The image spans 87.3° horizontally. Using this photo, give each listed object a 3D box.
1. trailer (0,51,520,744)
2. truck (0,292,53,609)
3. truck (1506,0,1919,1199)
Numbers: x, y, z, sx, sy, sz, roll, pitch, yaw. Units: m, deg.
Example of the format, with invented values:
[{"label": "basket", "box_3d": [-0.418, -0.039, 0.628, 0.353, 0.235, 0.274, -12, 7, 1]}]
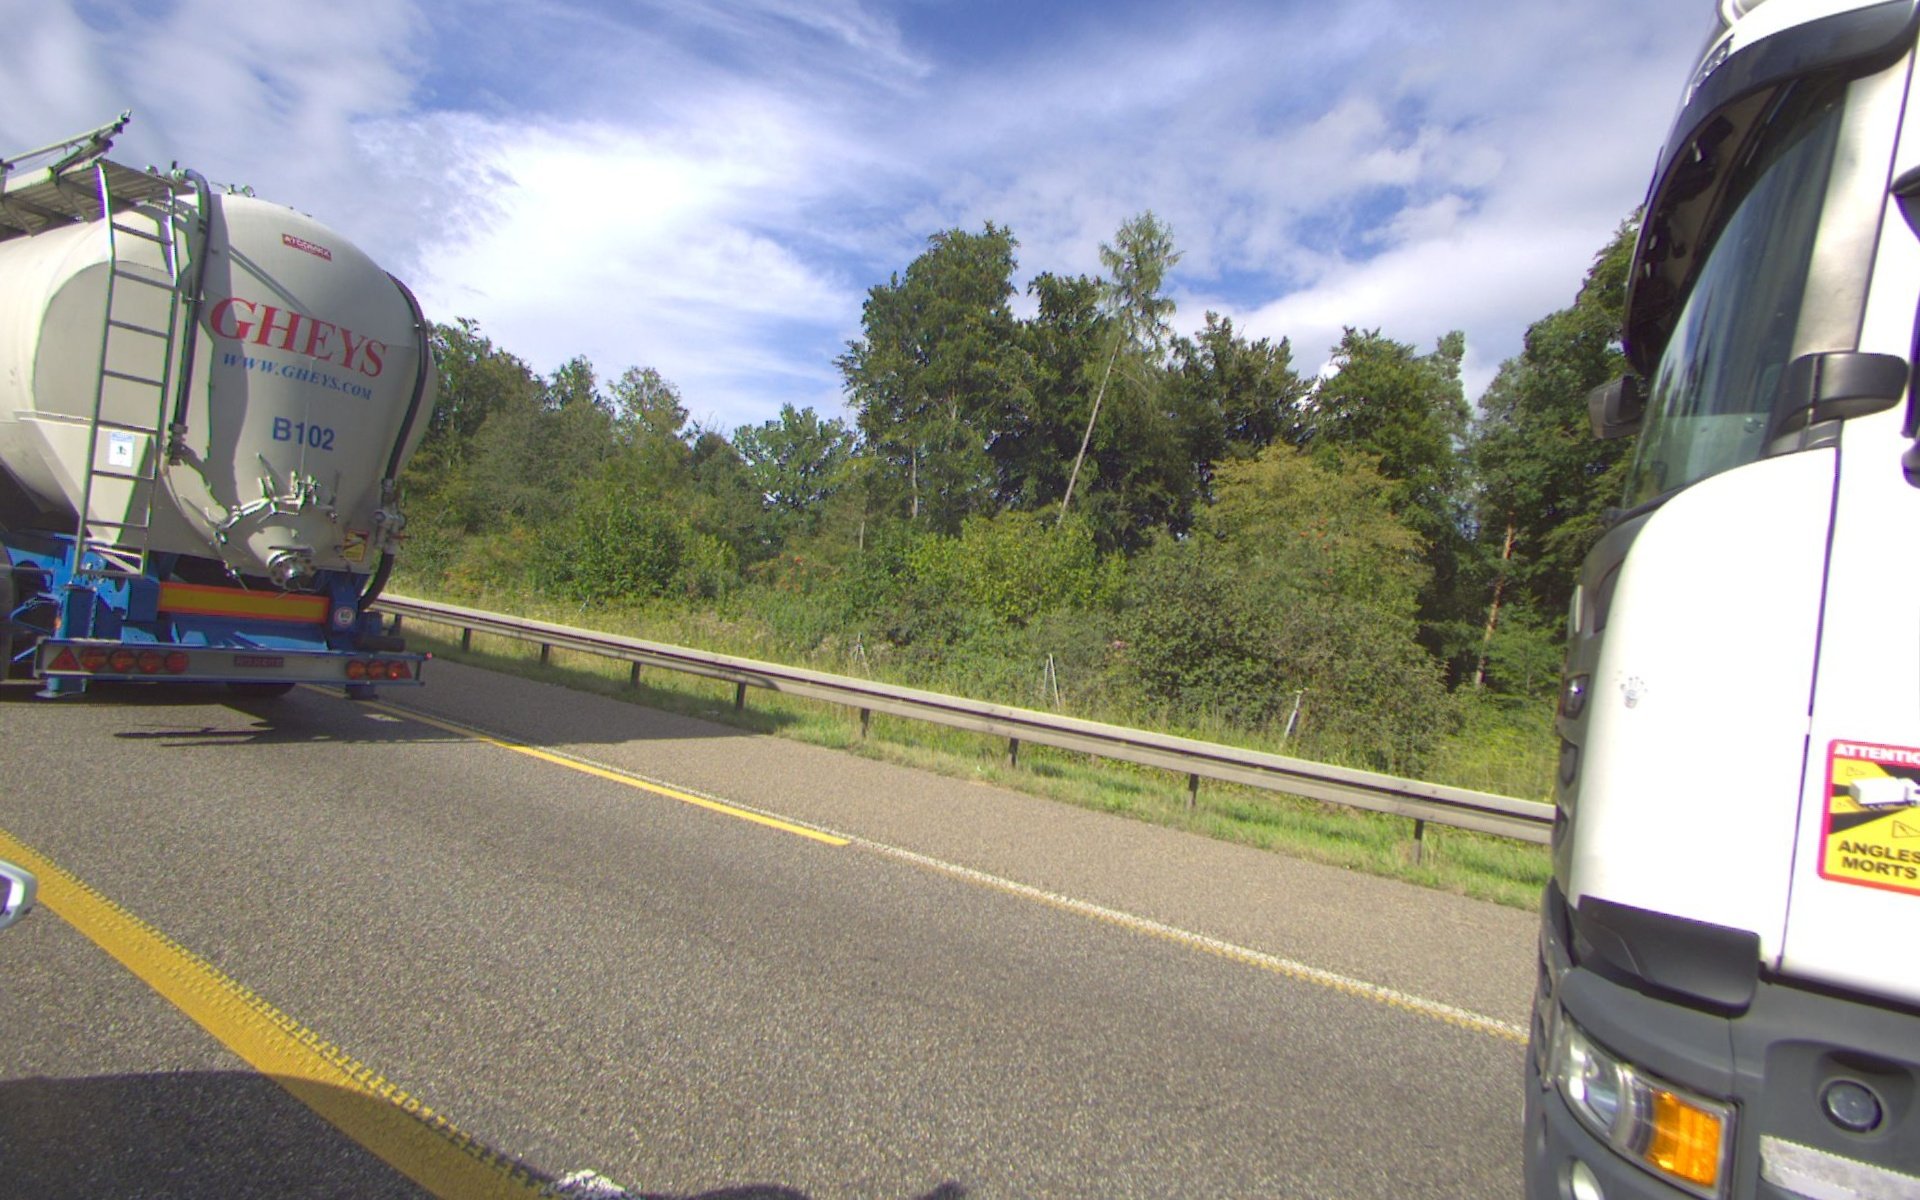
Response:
[{"label": "trailer", "box_3d": [-9.666, -1.622, 10.115, 12.388, 3.989, 2.649, 7, -1, 32]}, {"label": "truck", "box_3d": [-15.273, -2.262, 13.585, 5.683, 4.018, 2.664, 6, -2, 32]}, {"label": "truck", "box_3d": [4.220, -0.052, 1.468, 5.615, 4.006, 2.673, 7, -1, 31]}]
